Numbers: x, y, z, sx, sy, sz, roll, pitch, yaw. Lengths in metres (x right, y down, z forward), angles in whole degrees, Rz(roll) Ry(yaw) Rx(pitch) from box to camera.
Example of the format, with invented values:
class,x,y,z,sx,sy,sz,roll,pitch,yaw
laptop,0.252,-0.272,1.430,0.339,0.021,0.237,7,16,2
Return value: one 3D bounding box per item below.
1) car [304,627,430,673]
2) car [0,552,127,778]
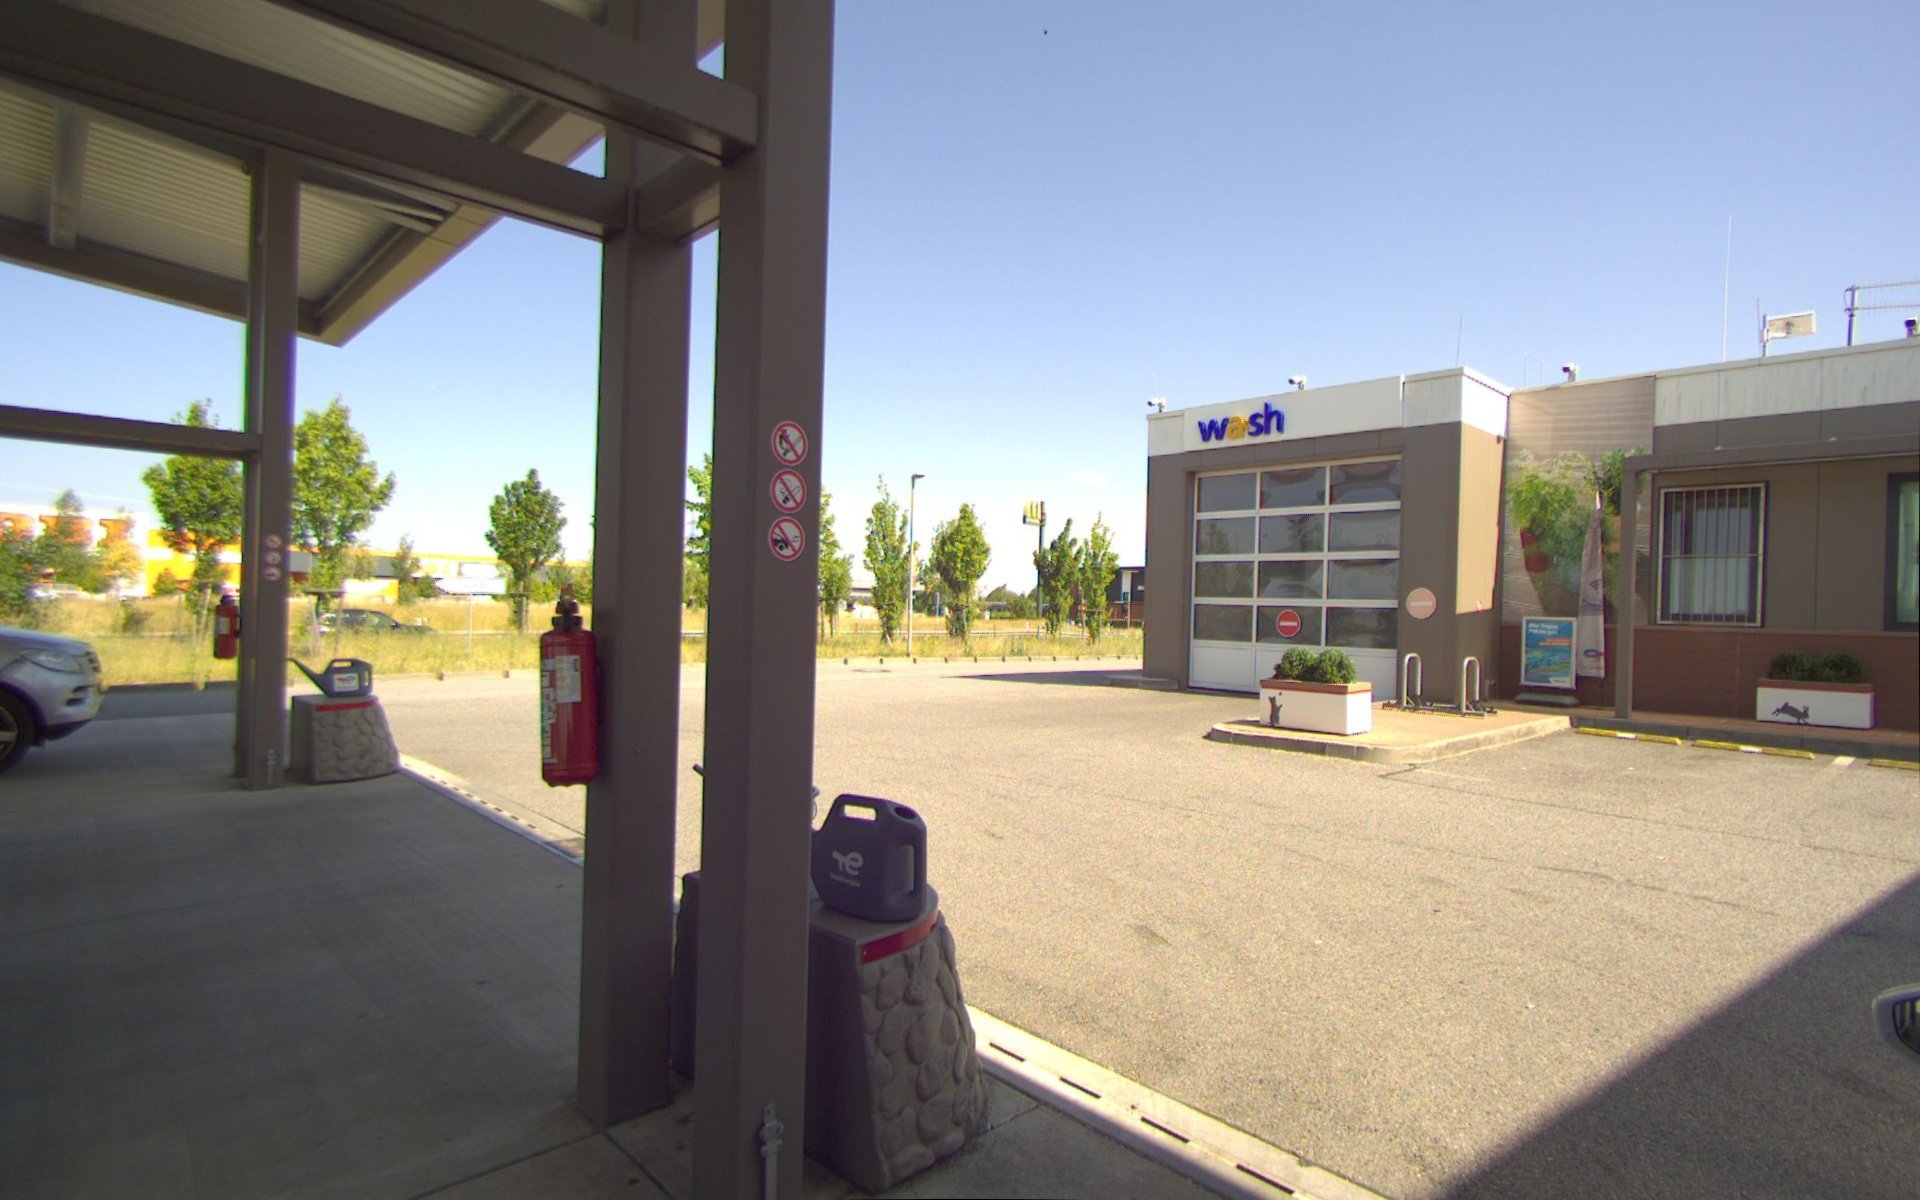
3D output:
class,x,y,z,sx,sy,sz,roll,pitch,yaw
car,-23.209,1.910,39.376,3.970,1.639,1.800,1,0,-42
car,-8.946,0.467,7.110,1.839,1.710,4.510,1,0,43
